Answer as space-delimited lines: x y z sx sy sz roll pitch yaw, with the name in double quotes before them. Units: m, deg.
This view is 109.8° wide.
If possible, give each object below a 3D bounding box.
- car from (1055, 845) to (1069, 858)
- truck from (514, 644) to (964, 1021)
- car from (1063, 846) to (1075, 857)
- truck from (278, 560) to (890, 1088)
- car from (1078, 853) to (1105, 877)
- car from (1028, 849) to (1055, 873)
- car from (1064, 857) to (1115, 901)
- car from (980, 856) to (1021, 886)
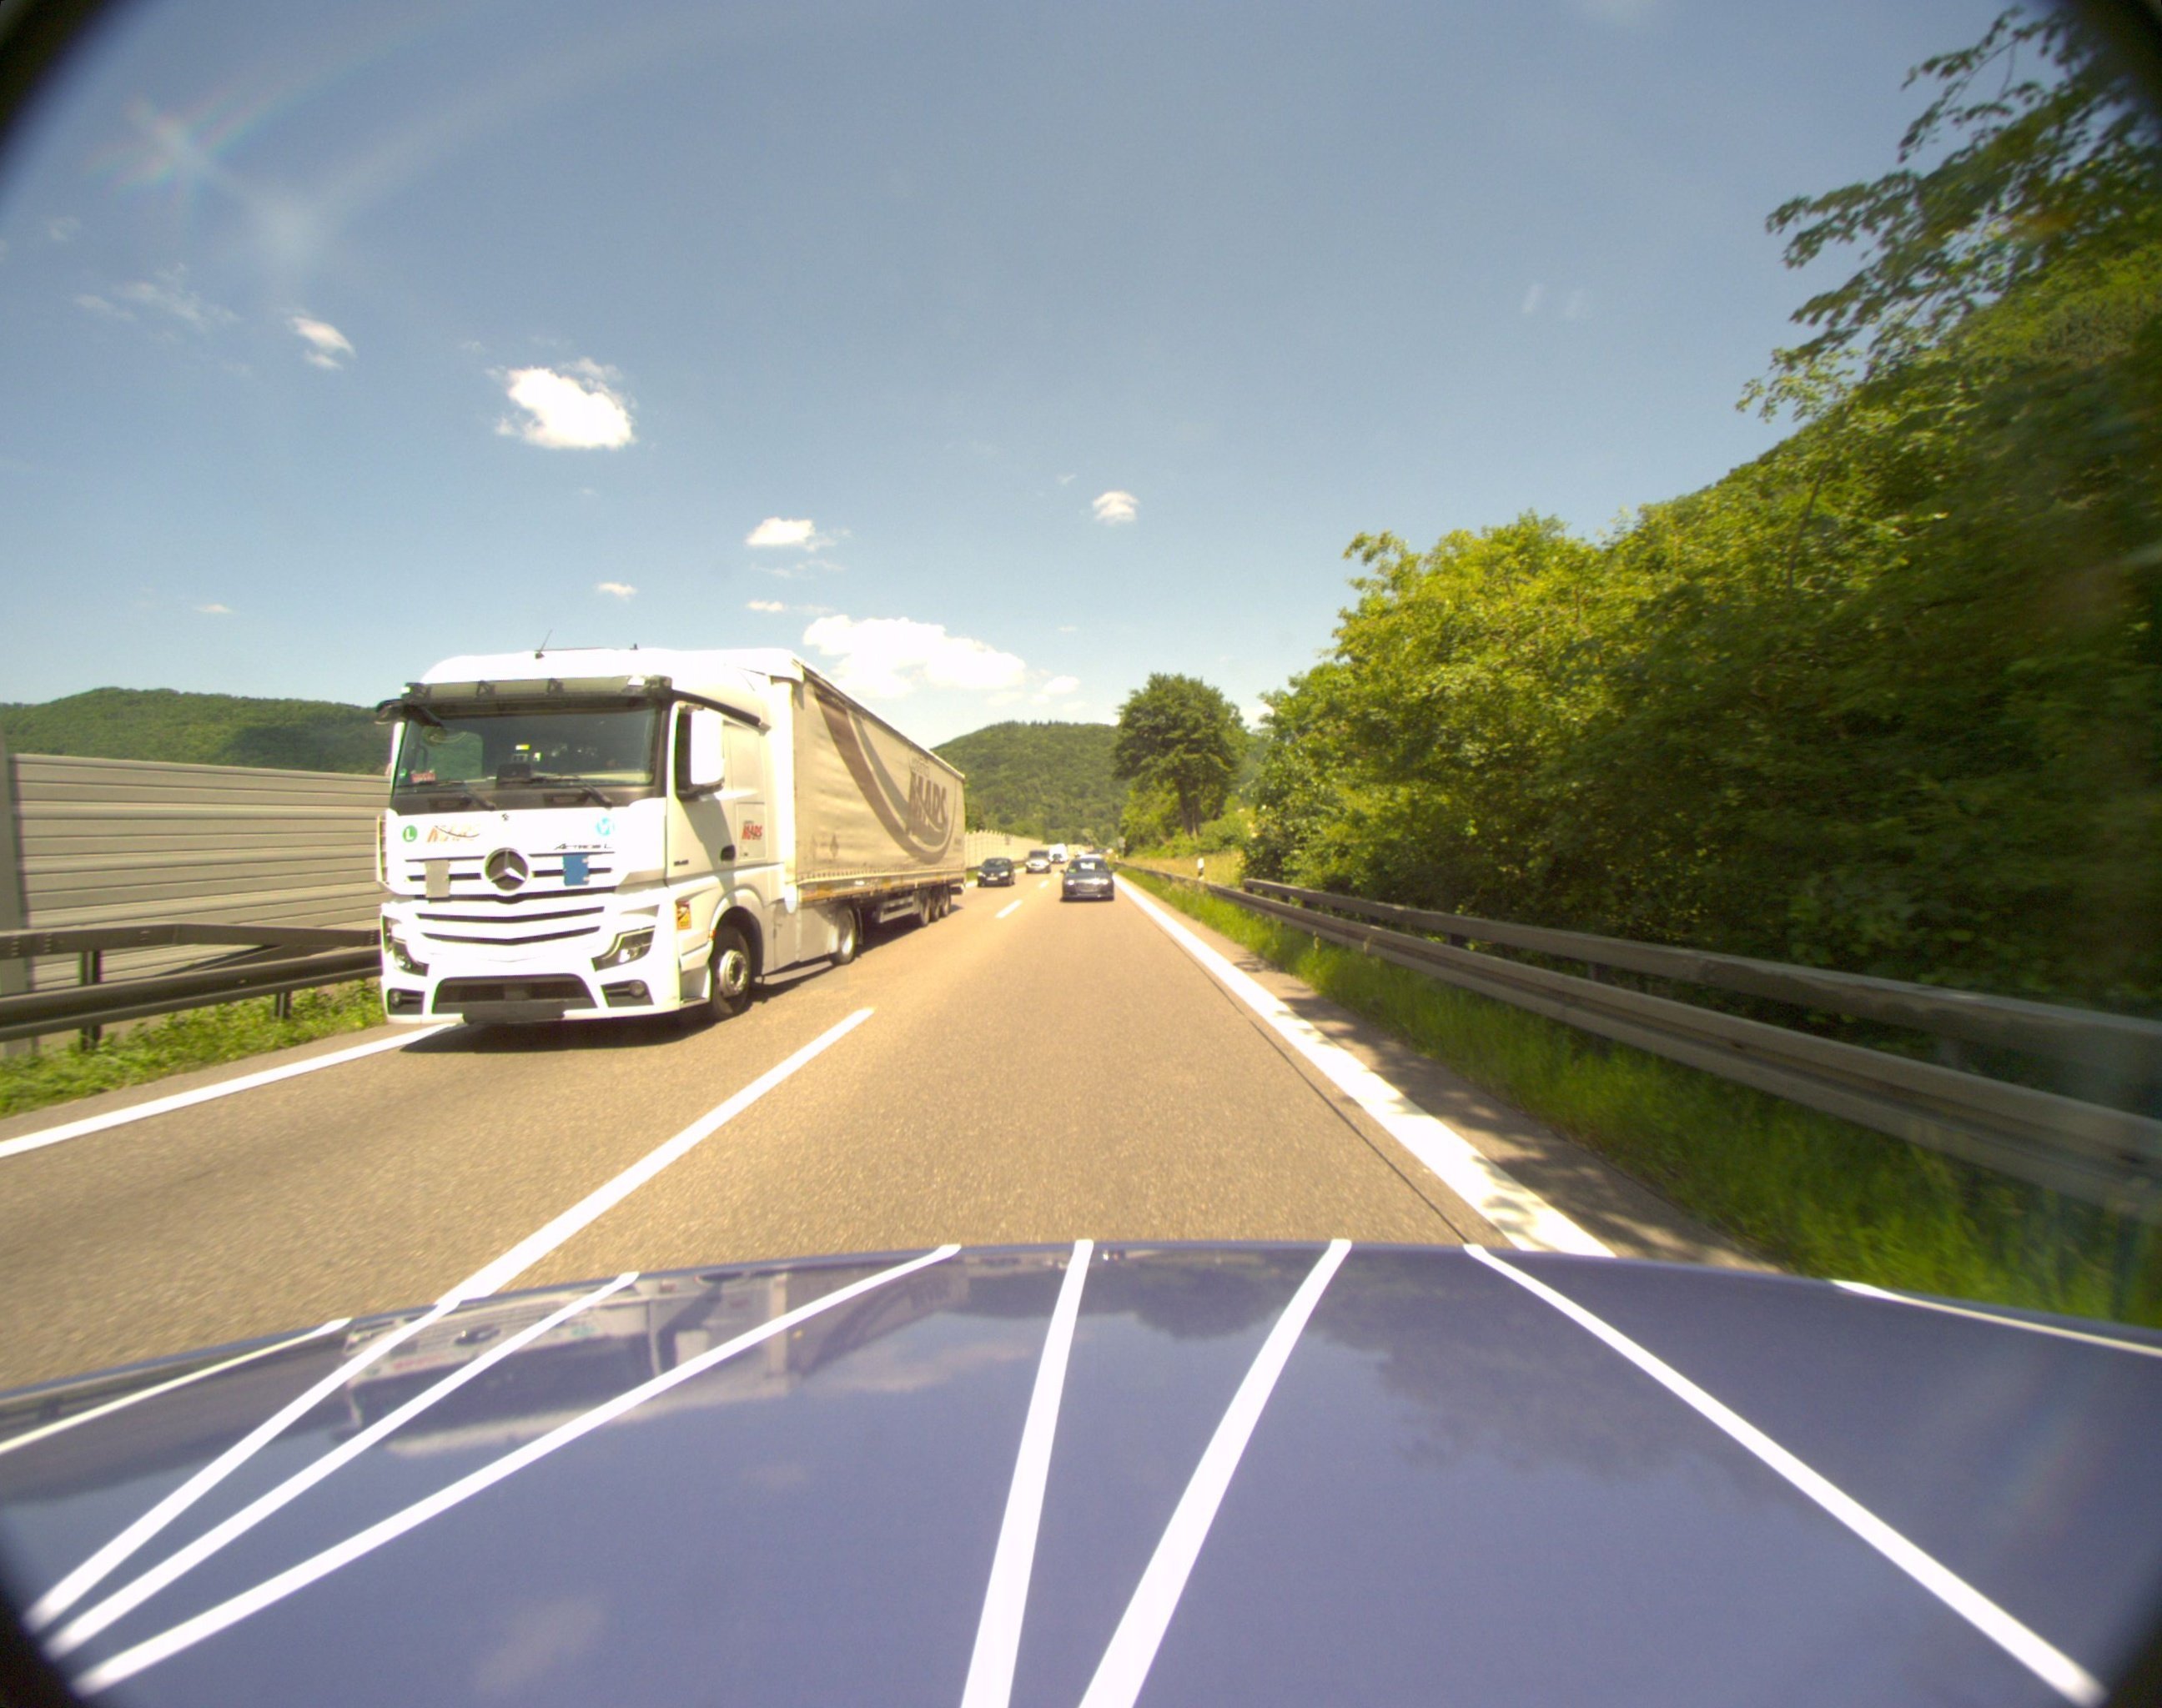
"car" -2.906 -0.405 117.996 1.998 1.892 4.001 1 0 1
"truck" -4.696 -0.299 14.404 2.861 4.124 12.045 -1 1 1
"car" -2.255 -0.509 142.752 1.998 2.002 3.999 4 1 1
"truck" -4.699 -0.254 9.302 2.764 4.015 6.823 -2 1 1
"car" 0.657 0.691 50.720 1.715 1.541 4.000 0 0 0
"car" -3.188 0.602 62.444 2.044 1.854 4.000 -1 -1 -1
"car" 0.304 0.835 26.942 1.662 1.436 3.474 0 1 1
"car" -4.073 0.846 38.858 1.662 1.405 3.474 0 1 1
